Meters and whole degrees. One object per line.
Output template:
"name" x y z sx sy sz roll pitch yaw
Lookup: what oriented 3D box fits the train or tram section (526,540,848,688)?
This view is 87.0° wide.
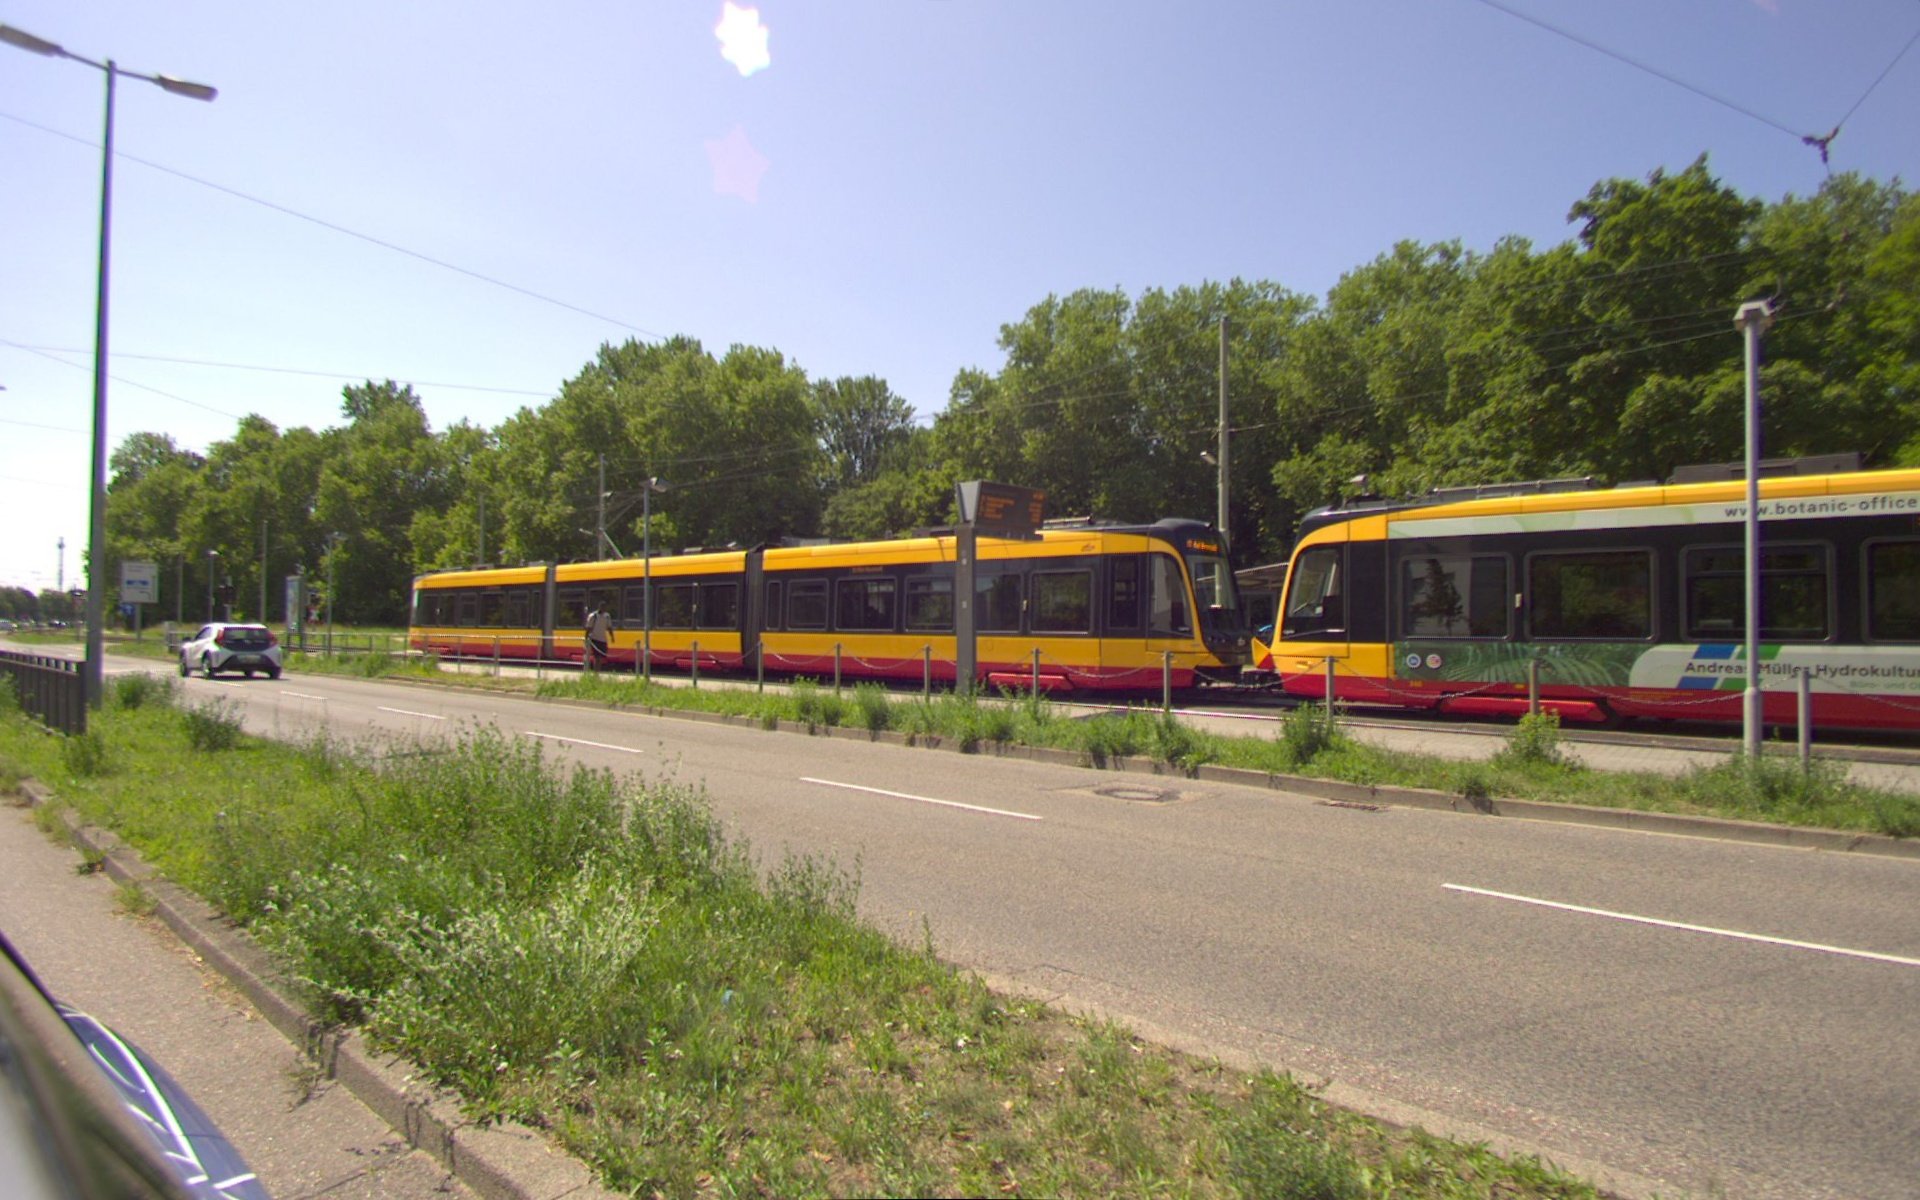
"train or tram section" -8.837 0.453 31.005 12.589 3.770 3.012 -1 -1 41

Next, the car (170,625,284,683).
"car" -20.447 1.451 28.181 3.717 1.516 1.751 -1 -2 41

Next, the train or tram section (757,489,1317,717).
"train or tram section" 0.800 0.160 22.456 13.256 3.795 3.012 -1 -1 42

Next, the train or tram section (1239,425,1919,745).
"train or tram section" 10.940 -0.159 13.475 13.883 3.652 3.013 -1 -1 39

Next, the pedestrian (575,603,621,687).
"pedestrian" -7.937 0.969 22.210 0.775 1.804 0.625 -2 -1 39

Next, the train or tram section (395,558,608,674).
"train or tram section" -17.961 0.632 39.004 11.534 3.884 2.919 -1 -1 41
